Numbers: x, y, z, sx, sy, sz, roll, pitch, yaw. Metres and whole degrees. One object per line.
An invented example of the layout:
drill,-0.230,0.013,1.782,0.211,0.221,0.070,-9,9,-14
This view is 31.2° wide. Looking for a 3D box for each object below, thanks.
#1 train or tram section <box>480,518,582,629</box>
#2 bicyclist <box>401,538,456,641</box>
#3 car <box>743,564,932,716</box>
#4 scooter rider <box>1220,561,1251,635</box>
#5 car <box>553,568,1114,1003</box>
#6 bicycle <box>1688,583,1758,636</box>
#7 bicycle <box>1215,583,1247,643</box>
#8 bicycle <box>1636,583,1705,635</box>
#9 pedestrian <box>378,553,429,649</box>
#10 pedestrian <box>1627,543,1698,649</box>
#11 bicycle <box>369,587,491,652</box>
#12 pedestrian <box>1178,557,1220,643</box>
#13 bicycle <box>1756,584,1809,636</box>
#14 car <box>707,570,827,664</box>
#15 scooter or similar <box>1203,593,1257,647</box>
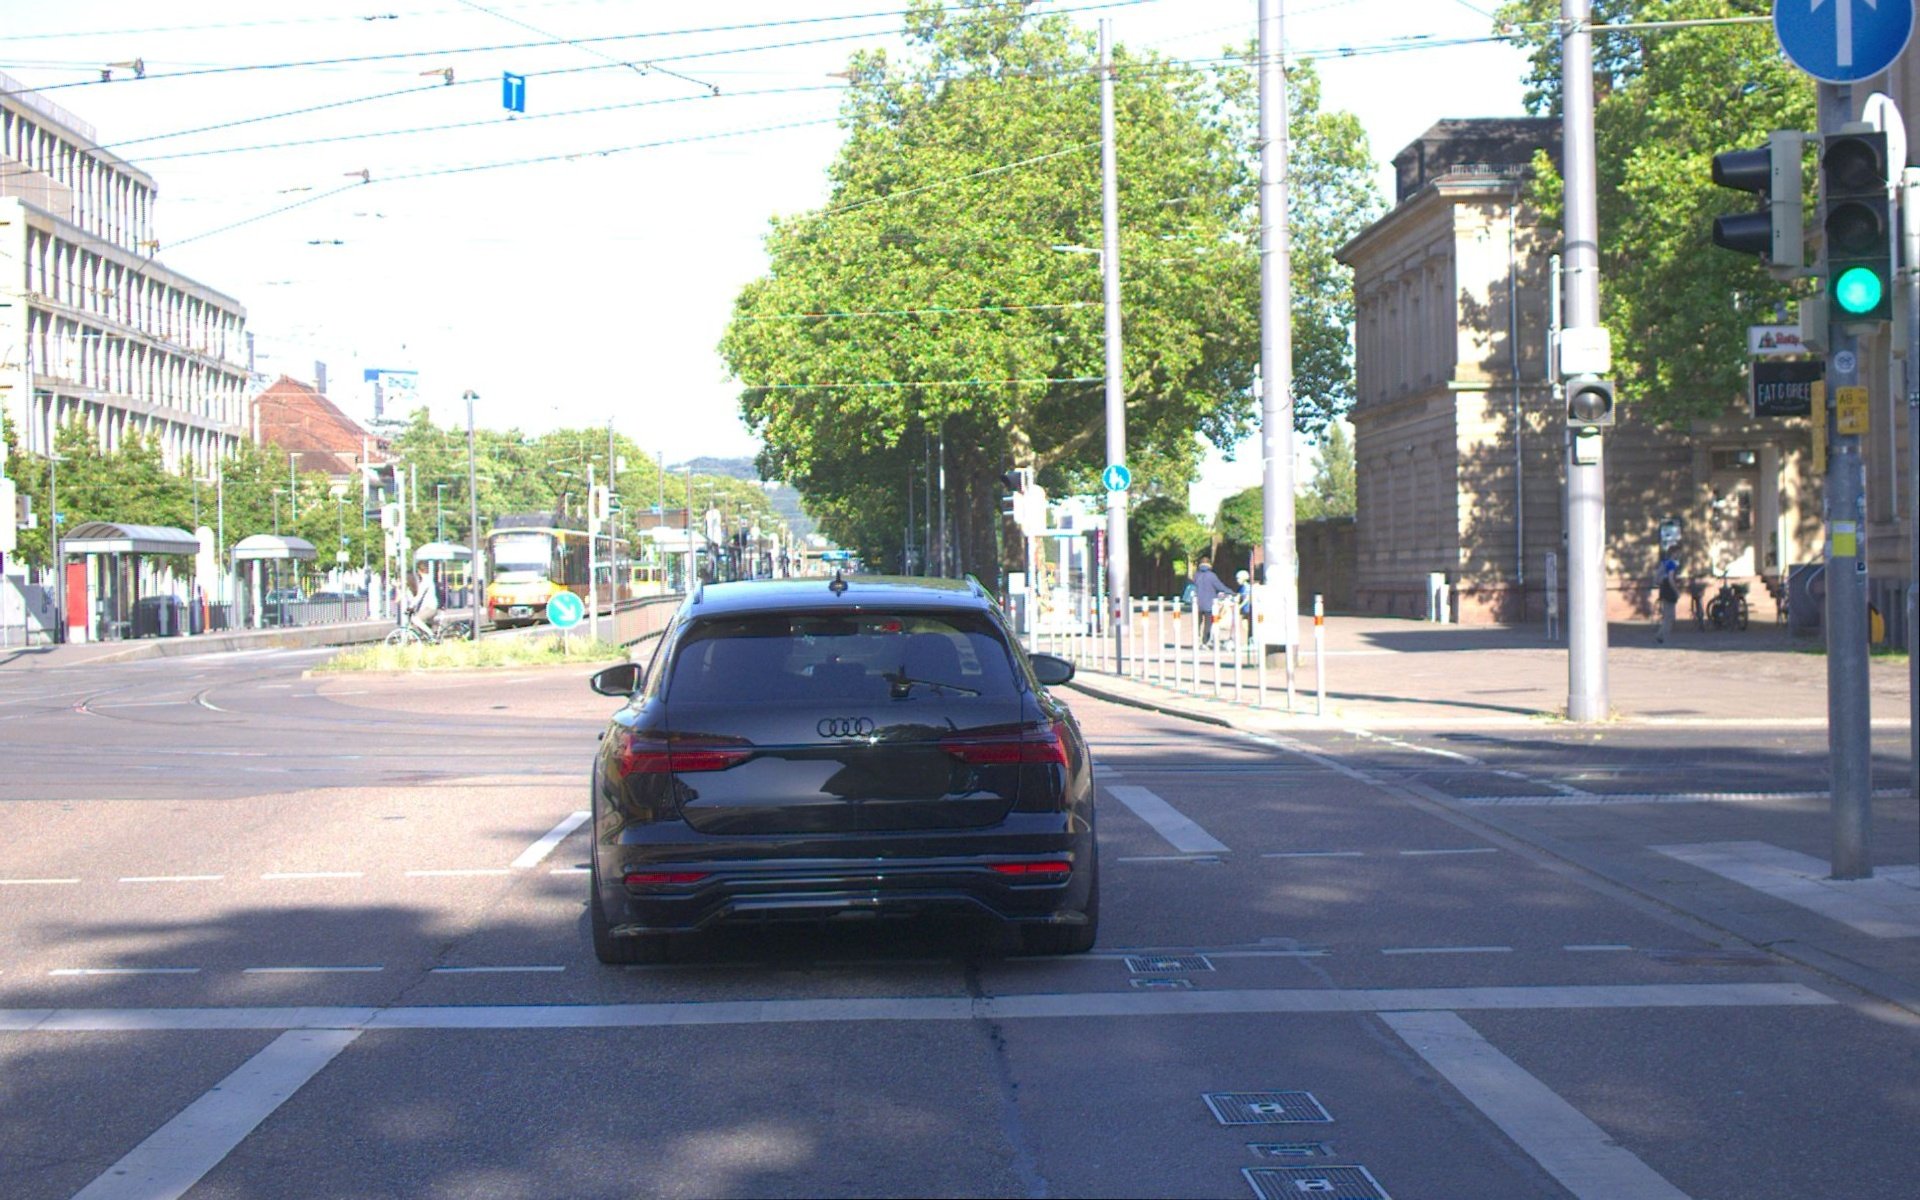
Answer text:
train or tram section,-14.146,-0.897,114.035,2.608,3.439,11.134,-1,1,-4
bicyclist,-9.507,-0.187,61.501,0.756,1.812,0.765,-1,1,-25
car,-1.294,0.384,37.125,1.902,1.481,4.145,-1,1,-1
scooter rider,5.161,-0.034,64.482,0.484,1.381,0.377,-2,-1,-4
car,-0.481,0.617,13.879,1.902,1.417,4.145,-1,1,-1
bicycle,15.641,0.185,70.567,0.526,1.043,2.360,-1,1,-10
bicycle,5.291,0.244,67.144,0.434,1.141,1.340,-1,1,-3
bicycle,14.575,0.177,70.562,0.526,1.043,2.360,-1,1,-10
pedestrian,-10.211,0.024,63.062,0.739,1.735,0.664,-1,0,-23
pedestrian,12.624,-0.075,61.806,0.979,1.859,0.827,-1,0,-11
bicycle,-9.475,0.344,61.505,2.005,1.104,0.765,-1,1,-25
pedestrian,4.664,0.003,67.102,0.682,1.655,0.758,-1,0,-3
bicycle,17.013,0.200,71.131,0.526,1.043,2.231,-1,1,-1
car,-3.292,0.271,59.176,1.902,1.481,4.145,-1,1,-1
scooter or similar,5.065,0.374,64.474,0.938,0.963,0.361,-2,-1,-4
